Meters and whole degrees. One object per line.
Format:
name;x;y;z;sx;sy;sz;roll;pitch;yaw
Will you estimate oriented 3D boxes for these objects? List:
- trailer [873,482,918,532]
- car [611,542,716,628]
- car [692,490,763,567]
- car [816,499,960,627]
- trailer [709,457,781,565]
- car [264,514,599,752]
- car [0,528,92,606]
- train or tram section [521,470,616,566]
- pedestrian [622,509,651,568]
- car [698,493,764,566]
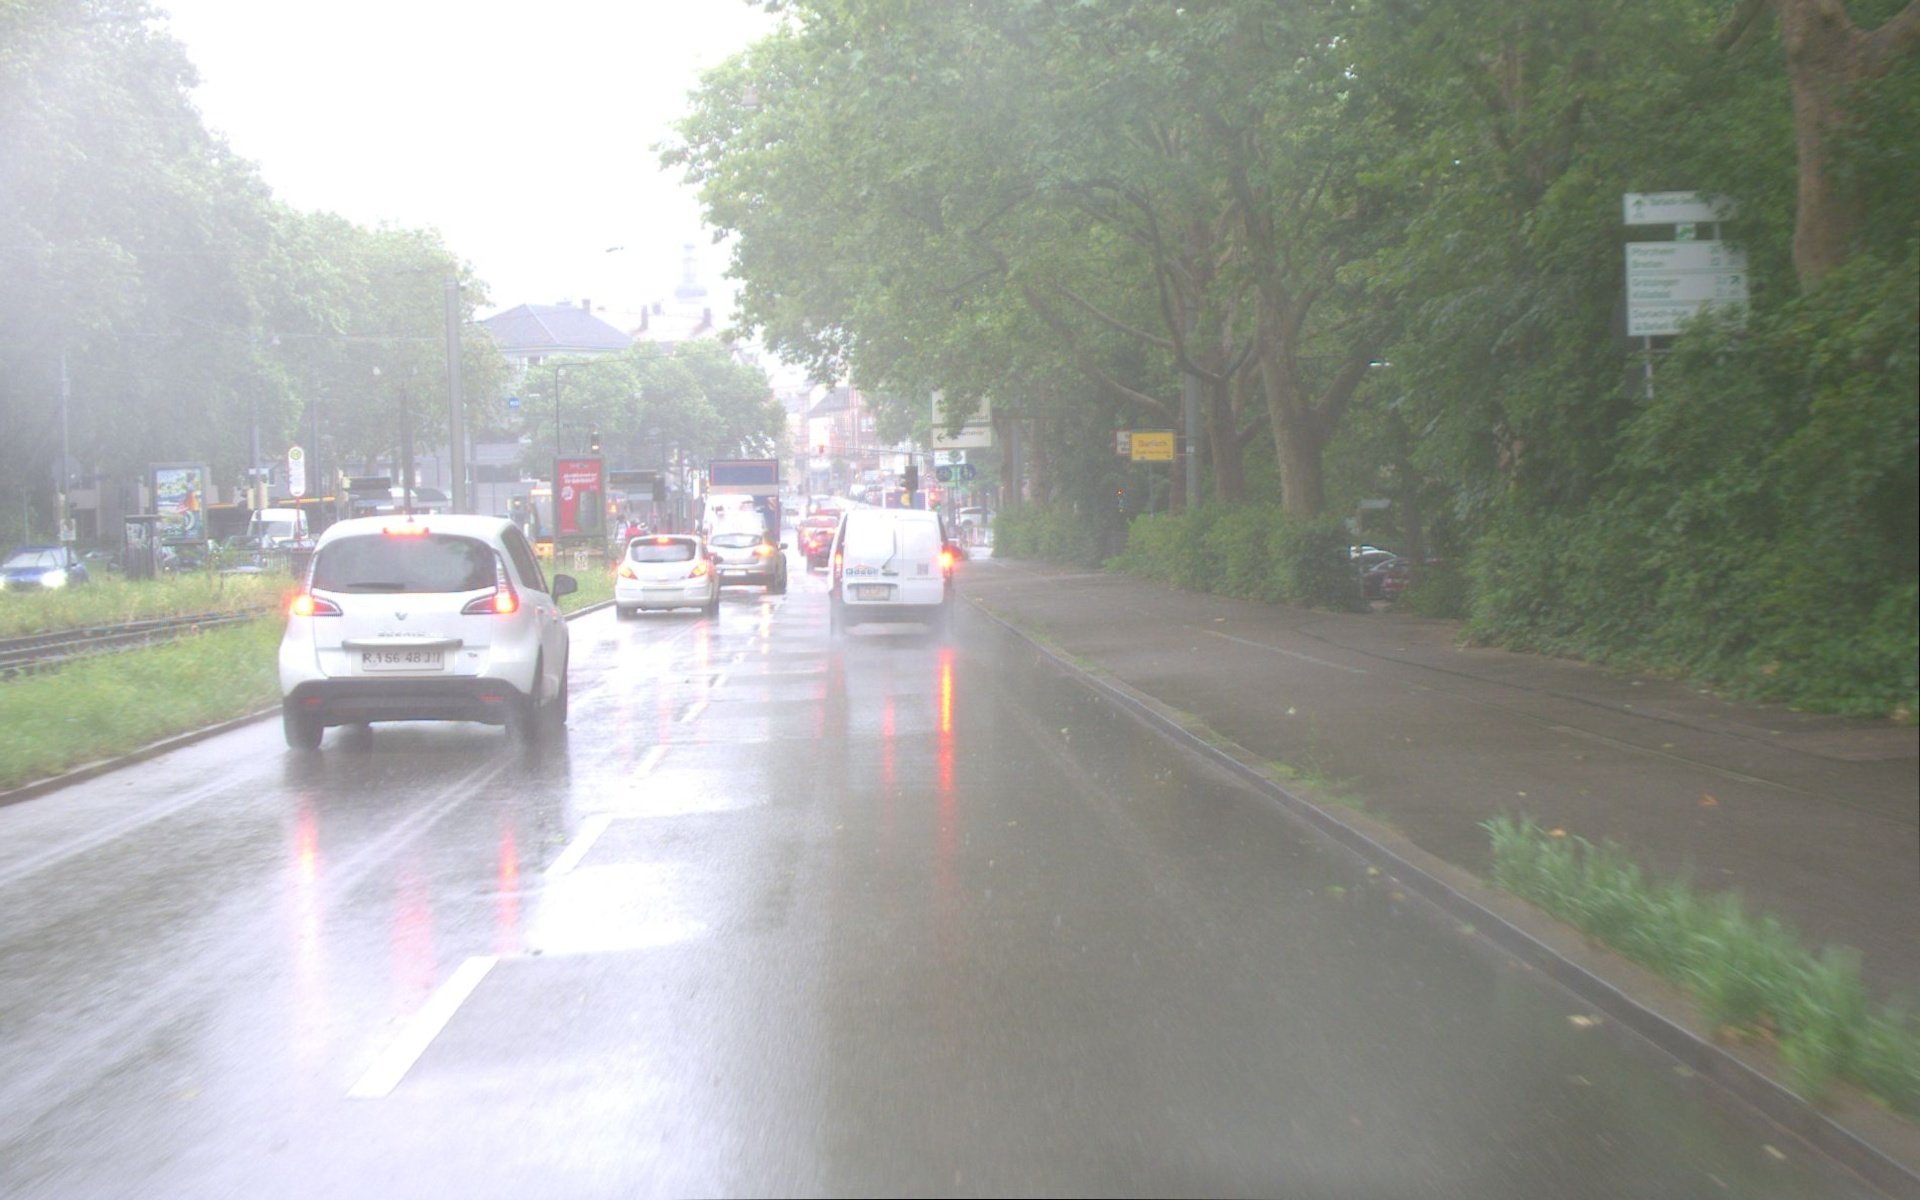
trailer;-3.107;-4.457;165.789;1.993;2.309;4.669;0;0;-3
car;-5.205;-0.265;60.685;1.725;1.474;3.806;0;0;-3
car;-7.990;-2.436;118.627;2.329;2.548;6.115;0;0;-3
car;-1.070;-0.522;49.267;1.959;1.771;3.570;0;0;-3
trailer;-8.025;-3.296;127.781;2.590;3.886;7.637;0;1;-4
car;-3.816;0.193;25.521;1.864;1.618;4.263;0;1;0
car;-22.032;-0.787;81.451;2.031;1.745;4.695;-2;1;-5
train or tram section;-14.310;-3.062;126.151;2.961;3.274;8.362;-2;2;-4
pedestrian;-9.545;-1.802;101.584;0.790;1.708;0.771;1;0;-3
car;-7.301;-2.231;109.820;1.993;2.254;5.289;0;0;-3
